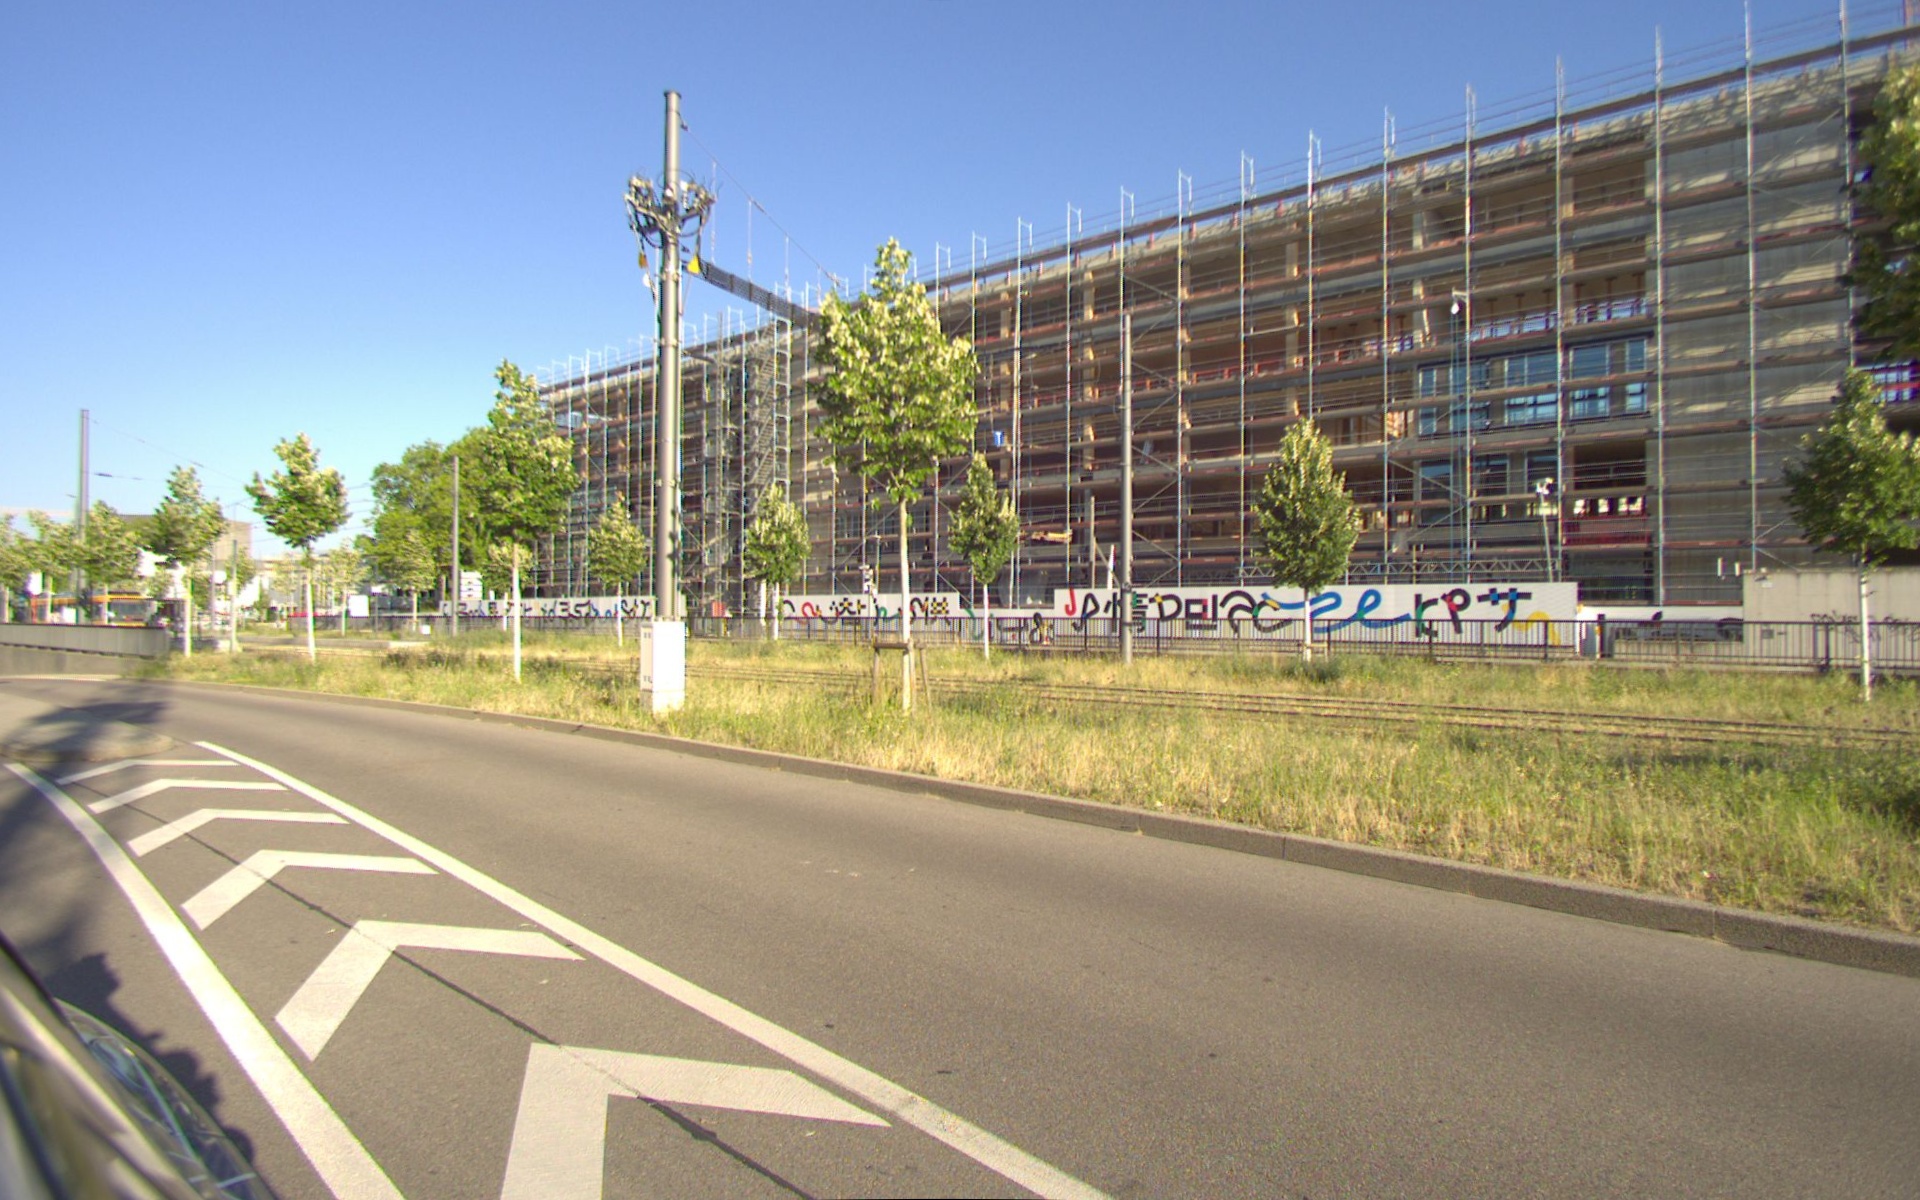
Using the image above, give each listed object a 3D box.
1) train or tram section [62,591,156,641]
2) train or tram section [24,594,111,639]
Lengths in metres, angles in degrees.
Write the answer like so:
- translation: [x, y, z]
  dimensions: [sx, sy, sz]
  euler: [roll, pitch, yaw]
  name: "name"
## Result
- translation: [-62.663, 1.132, 74.370]
  dimensions: [12.619, 3.423, 2.917]
  euler: [-1, 0, 39]
  name: "train or tram section"
- translation: [-73.320, 1.334, 83.002]
  dimensions: [14.749, 3.423, 2.917]
  euler: [-1, 0, 39]
  name: "train or tram section"
